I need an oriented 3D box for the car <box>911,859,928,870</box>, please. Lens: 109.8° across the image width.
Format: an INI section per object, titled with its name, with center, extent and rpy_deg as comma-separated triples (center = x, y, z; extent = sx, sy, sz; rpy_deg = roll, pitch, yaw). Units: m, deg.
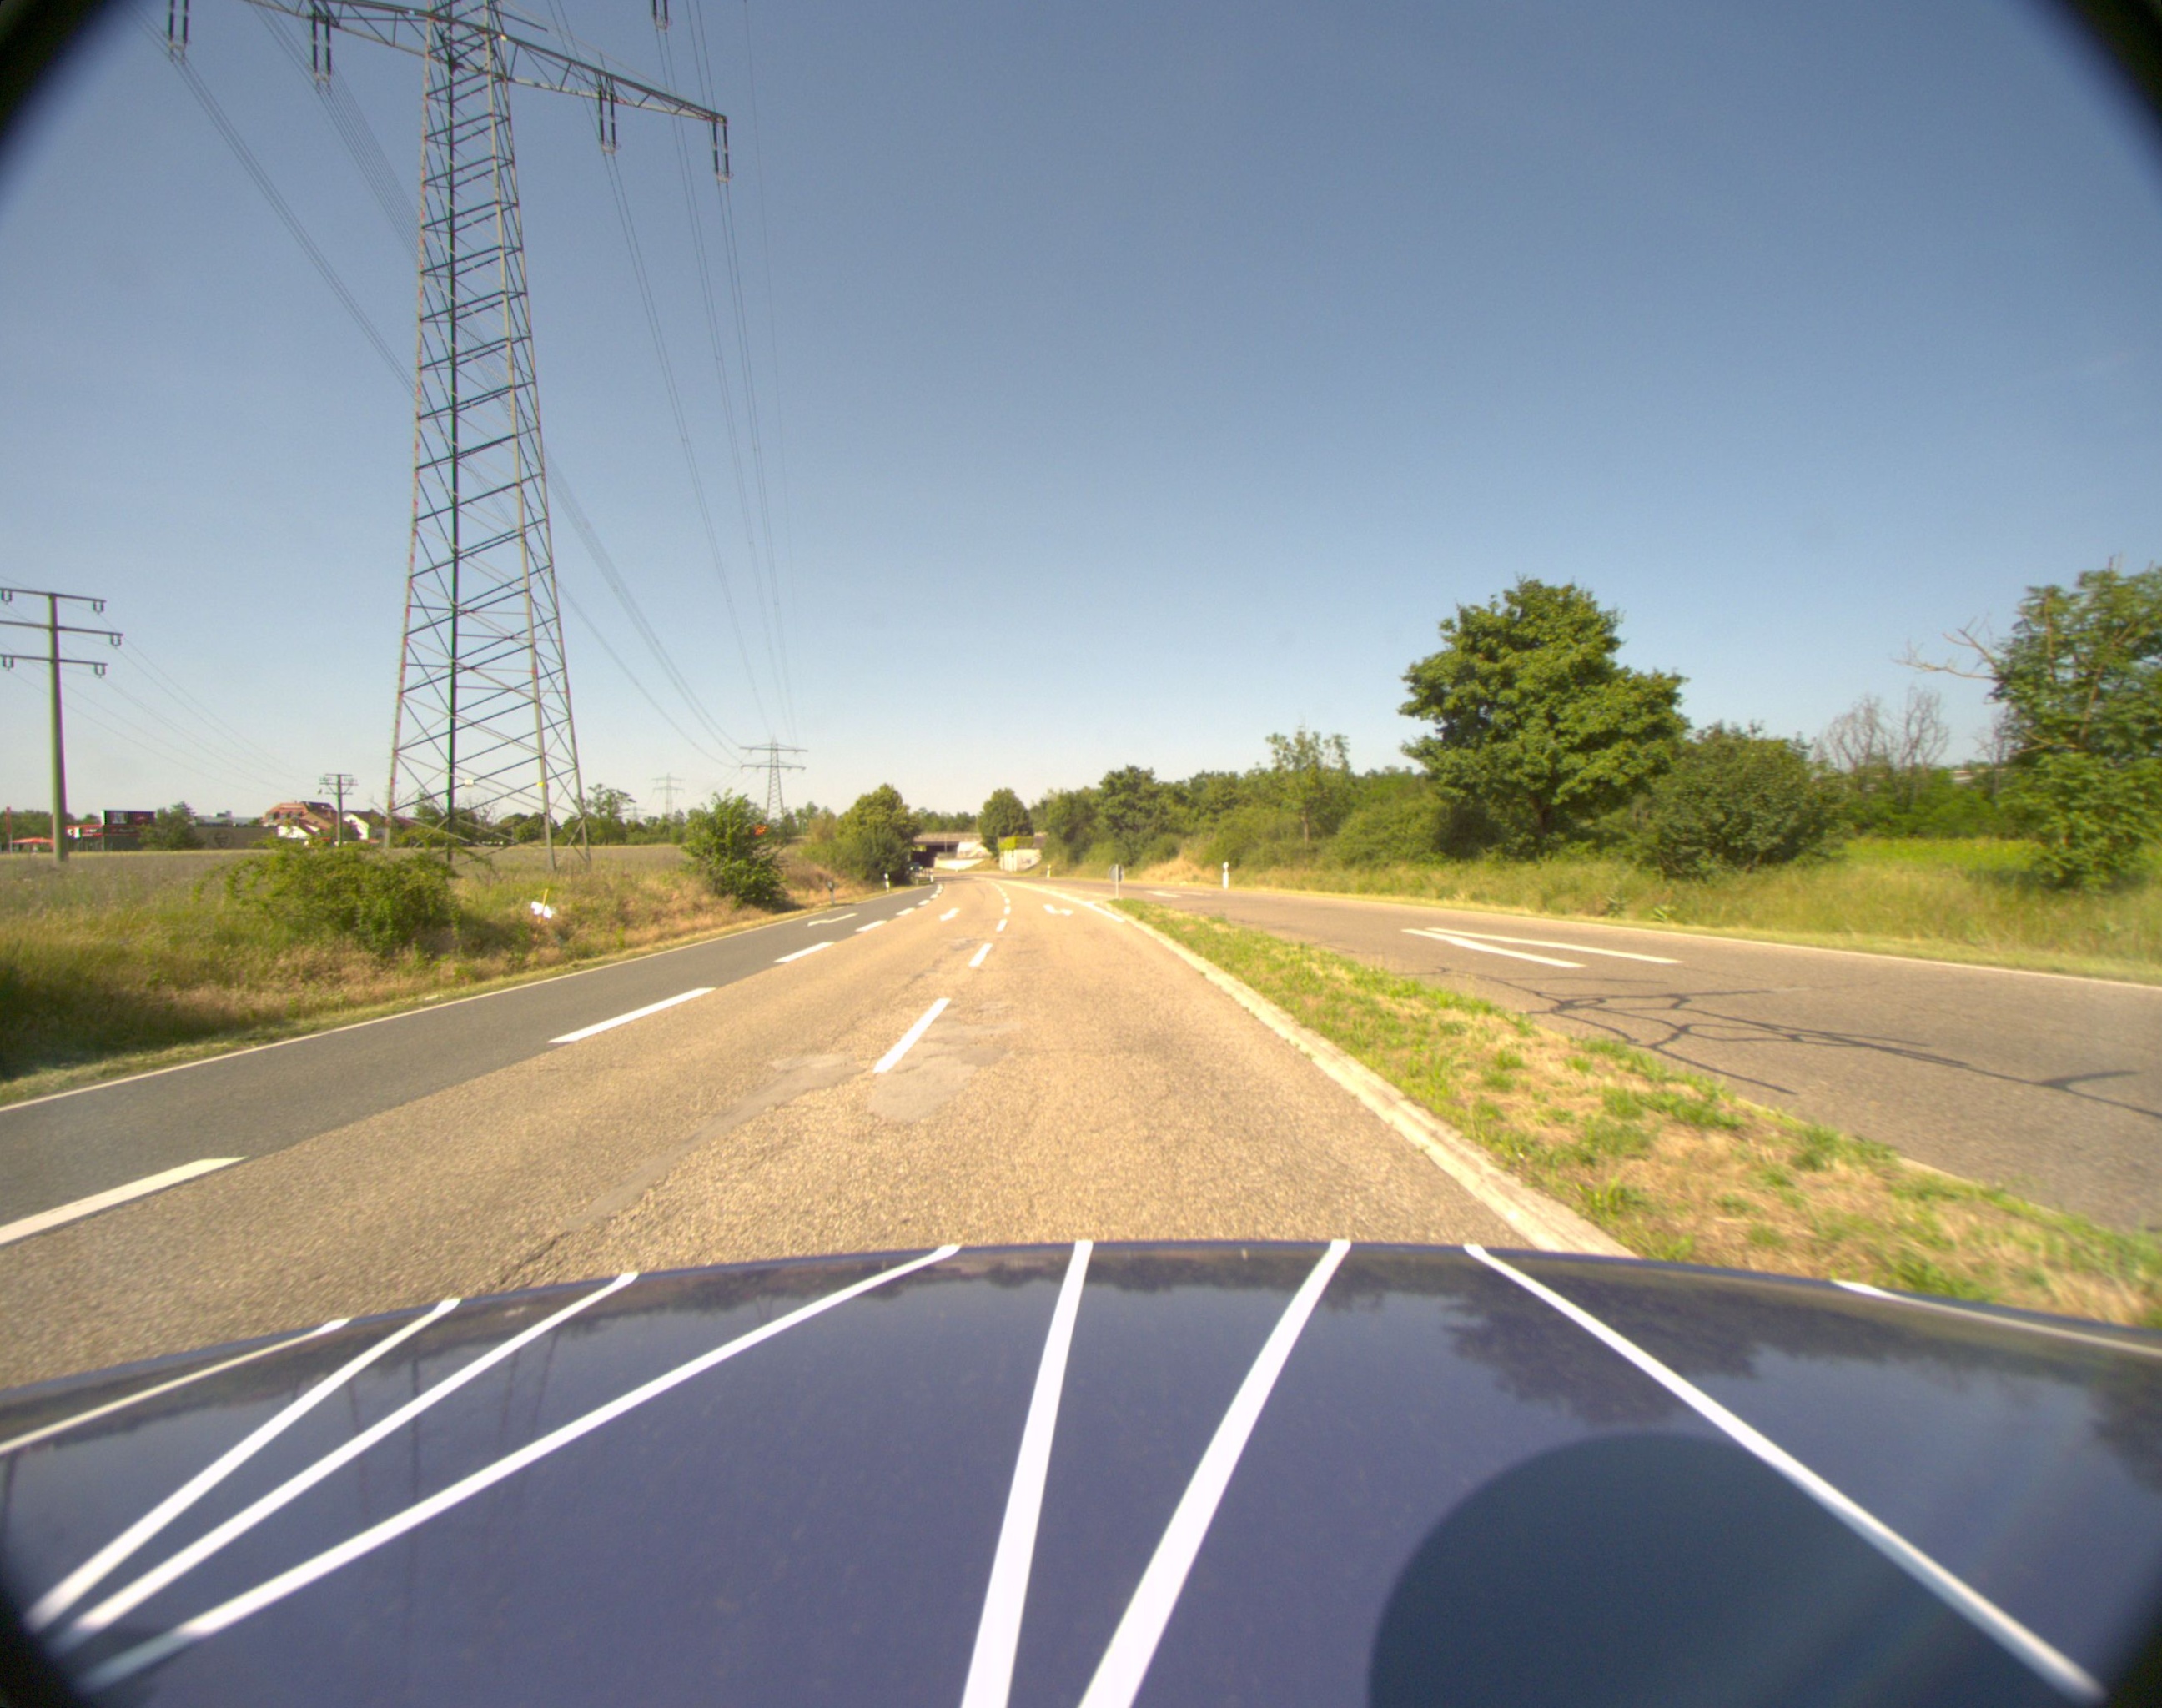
[car]
center = -24.666, 1.666, 116.087
extent = 1.863, 1.609, 3.641
rpy_deg = -2, 0, -21
